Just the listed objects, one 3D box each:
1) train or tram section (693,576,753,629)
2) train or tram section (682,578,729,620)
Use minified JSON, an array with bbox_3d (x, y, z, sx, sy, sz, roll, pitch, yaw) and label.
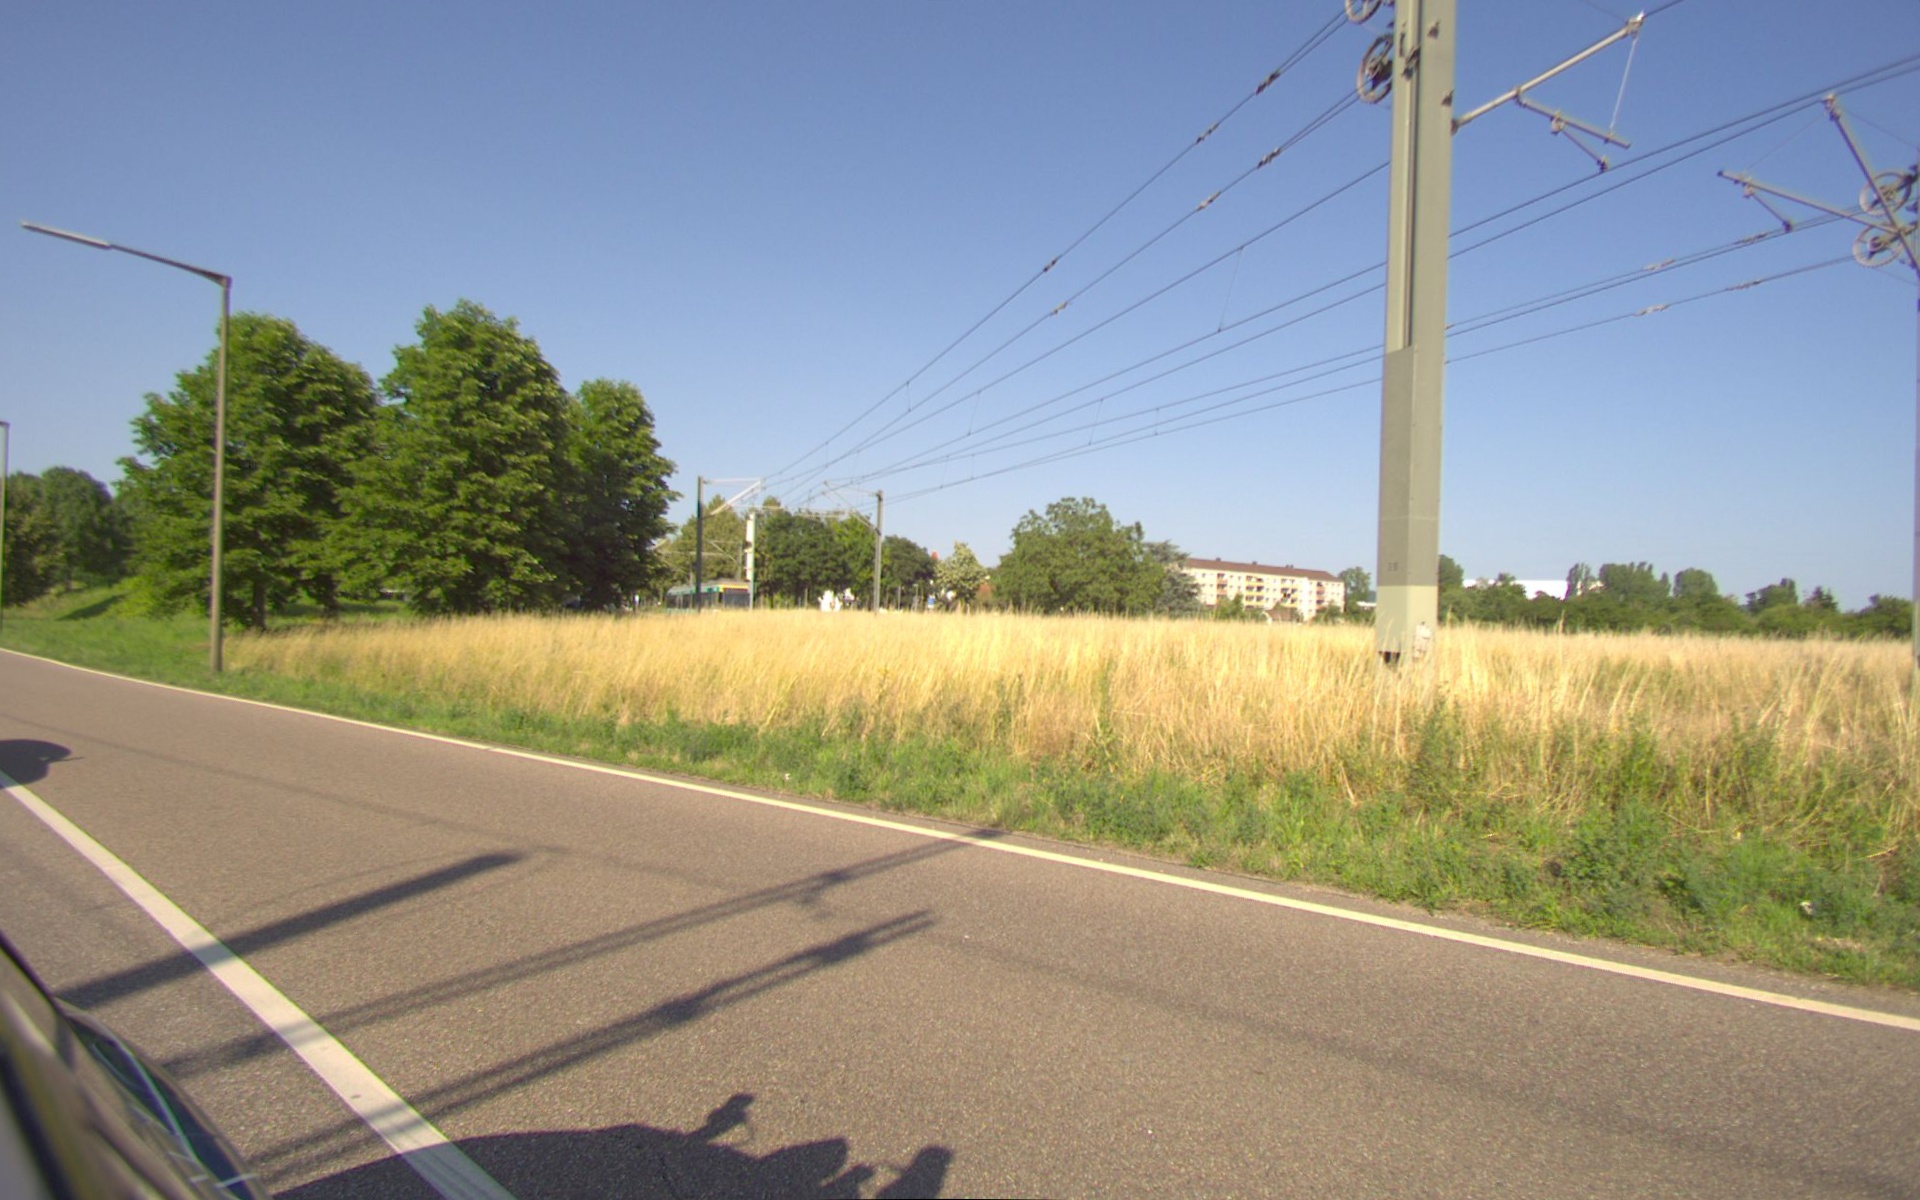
[{"bbox_3d":[-18.174,0.020,76.882,2.866,3.595,14.308,0,1,-20],"label":"train or tram section"},{"bbox_3d":[-22.645,-0.151,89.430,2.876,3.480,12.205,0,1,-20],"label":"train or tram section"}]
